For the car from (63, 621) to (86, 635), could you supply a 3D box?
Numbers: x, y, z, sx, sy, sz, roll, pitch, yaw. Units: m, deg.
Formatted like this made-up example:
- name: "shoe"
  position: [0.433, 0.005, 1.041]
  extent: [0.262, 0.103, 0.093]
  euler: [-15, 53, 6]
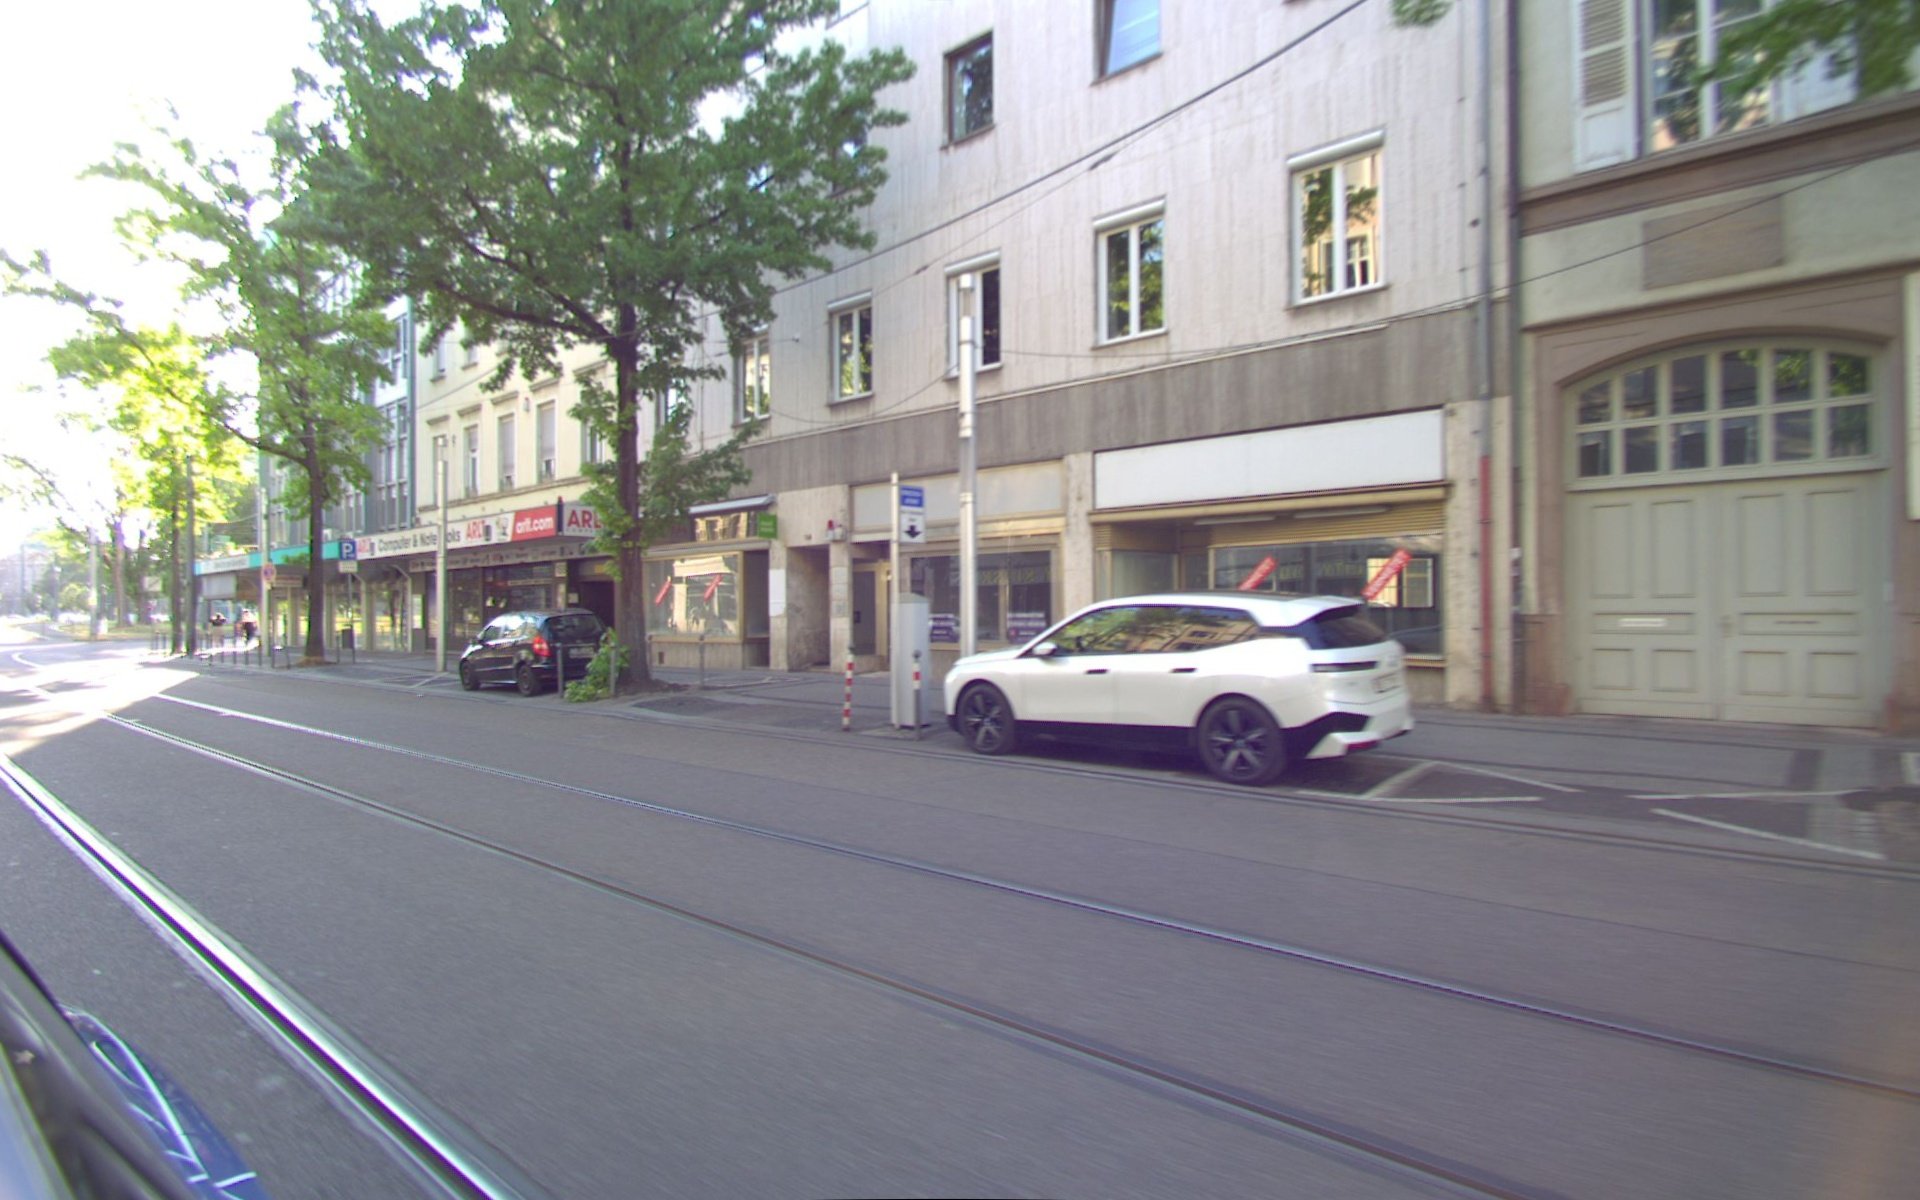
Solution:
- name: "car"
  position: [-137.337, 4.271, 156.991]
  extent: [4.544, 2.029, 1.974]
  euler: [-1, 0, 39]

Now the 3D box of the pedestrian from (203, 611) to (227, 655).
- name: "pedestrian"
  position: [-35.581, 1.558, 48.312]
  extent: [0.734, 2.029, 0.788]
  euler: [0, 0, 43]

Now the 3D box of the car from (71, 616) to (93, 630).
- name: "car"
  position: [-130.049, 3.358, 149.856]
  extent: [3.999, 2.029, 1.972]
  euler: [0, -1, 42]

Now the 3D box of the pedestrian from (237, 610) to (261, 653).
- name: "pedestrian"
  position: [-34.579, 1.517, 49.214]
  extent: [0.734, 2.029, 0.788]
  euler: [0, 0, 43]

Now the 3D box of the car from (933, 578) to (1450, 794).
- name: "car"
  position: [2.153, 0.692, 10.389]
  extent: [4.811, 1.652, 1.941]
  euler: [-1, 2, 42]

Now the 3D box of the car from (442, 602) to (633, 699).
- name: "car"
  position: [-8.526, 0.928, 20.289]
  extent: [3.998, 1.652, 1.942]
  euler: [-1, 2, 41]
